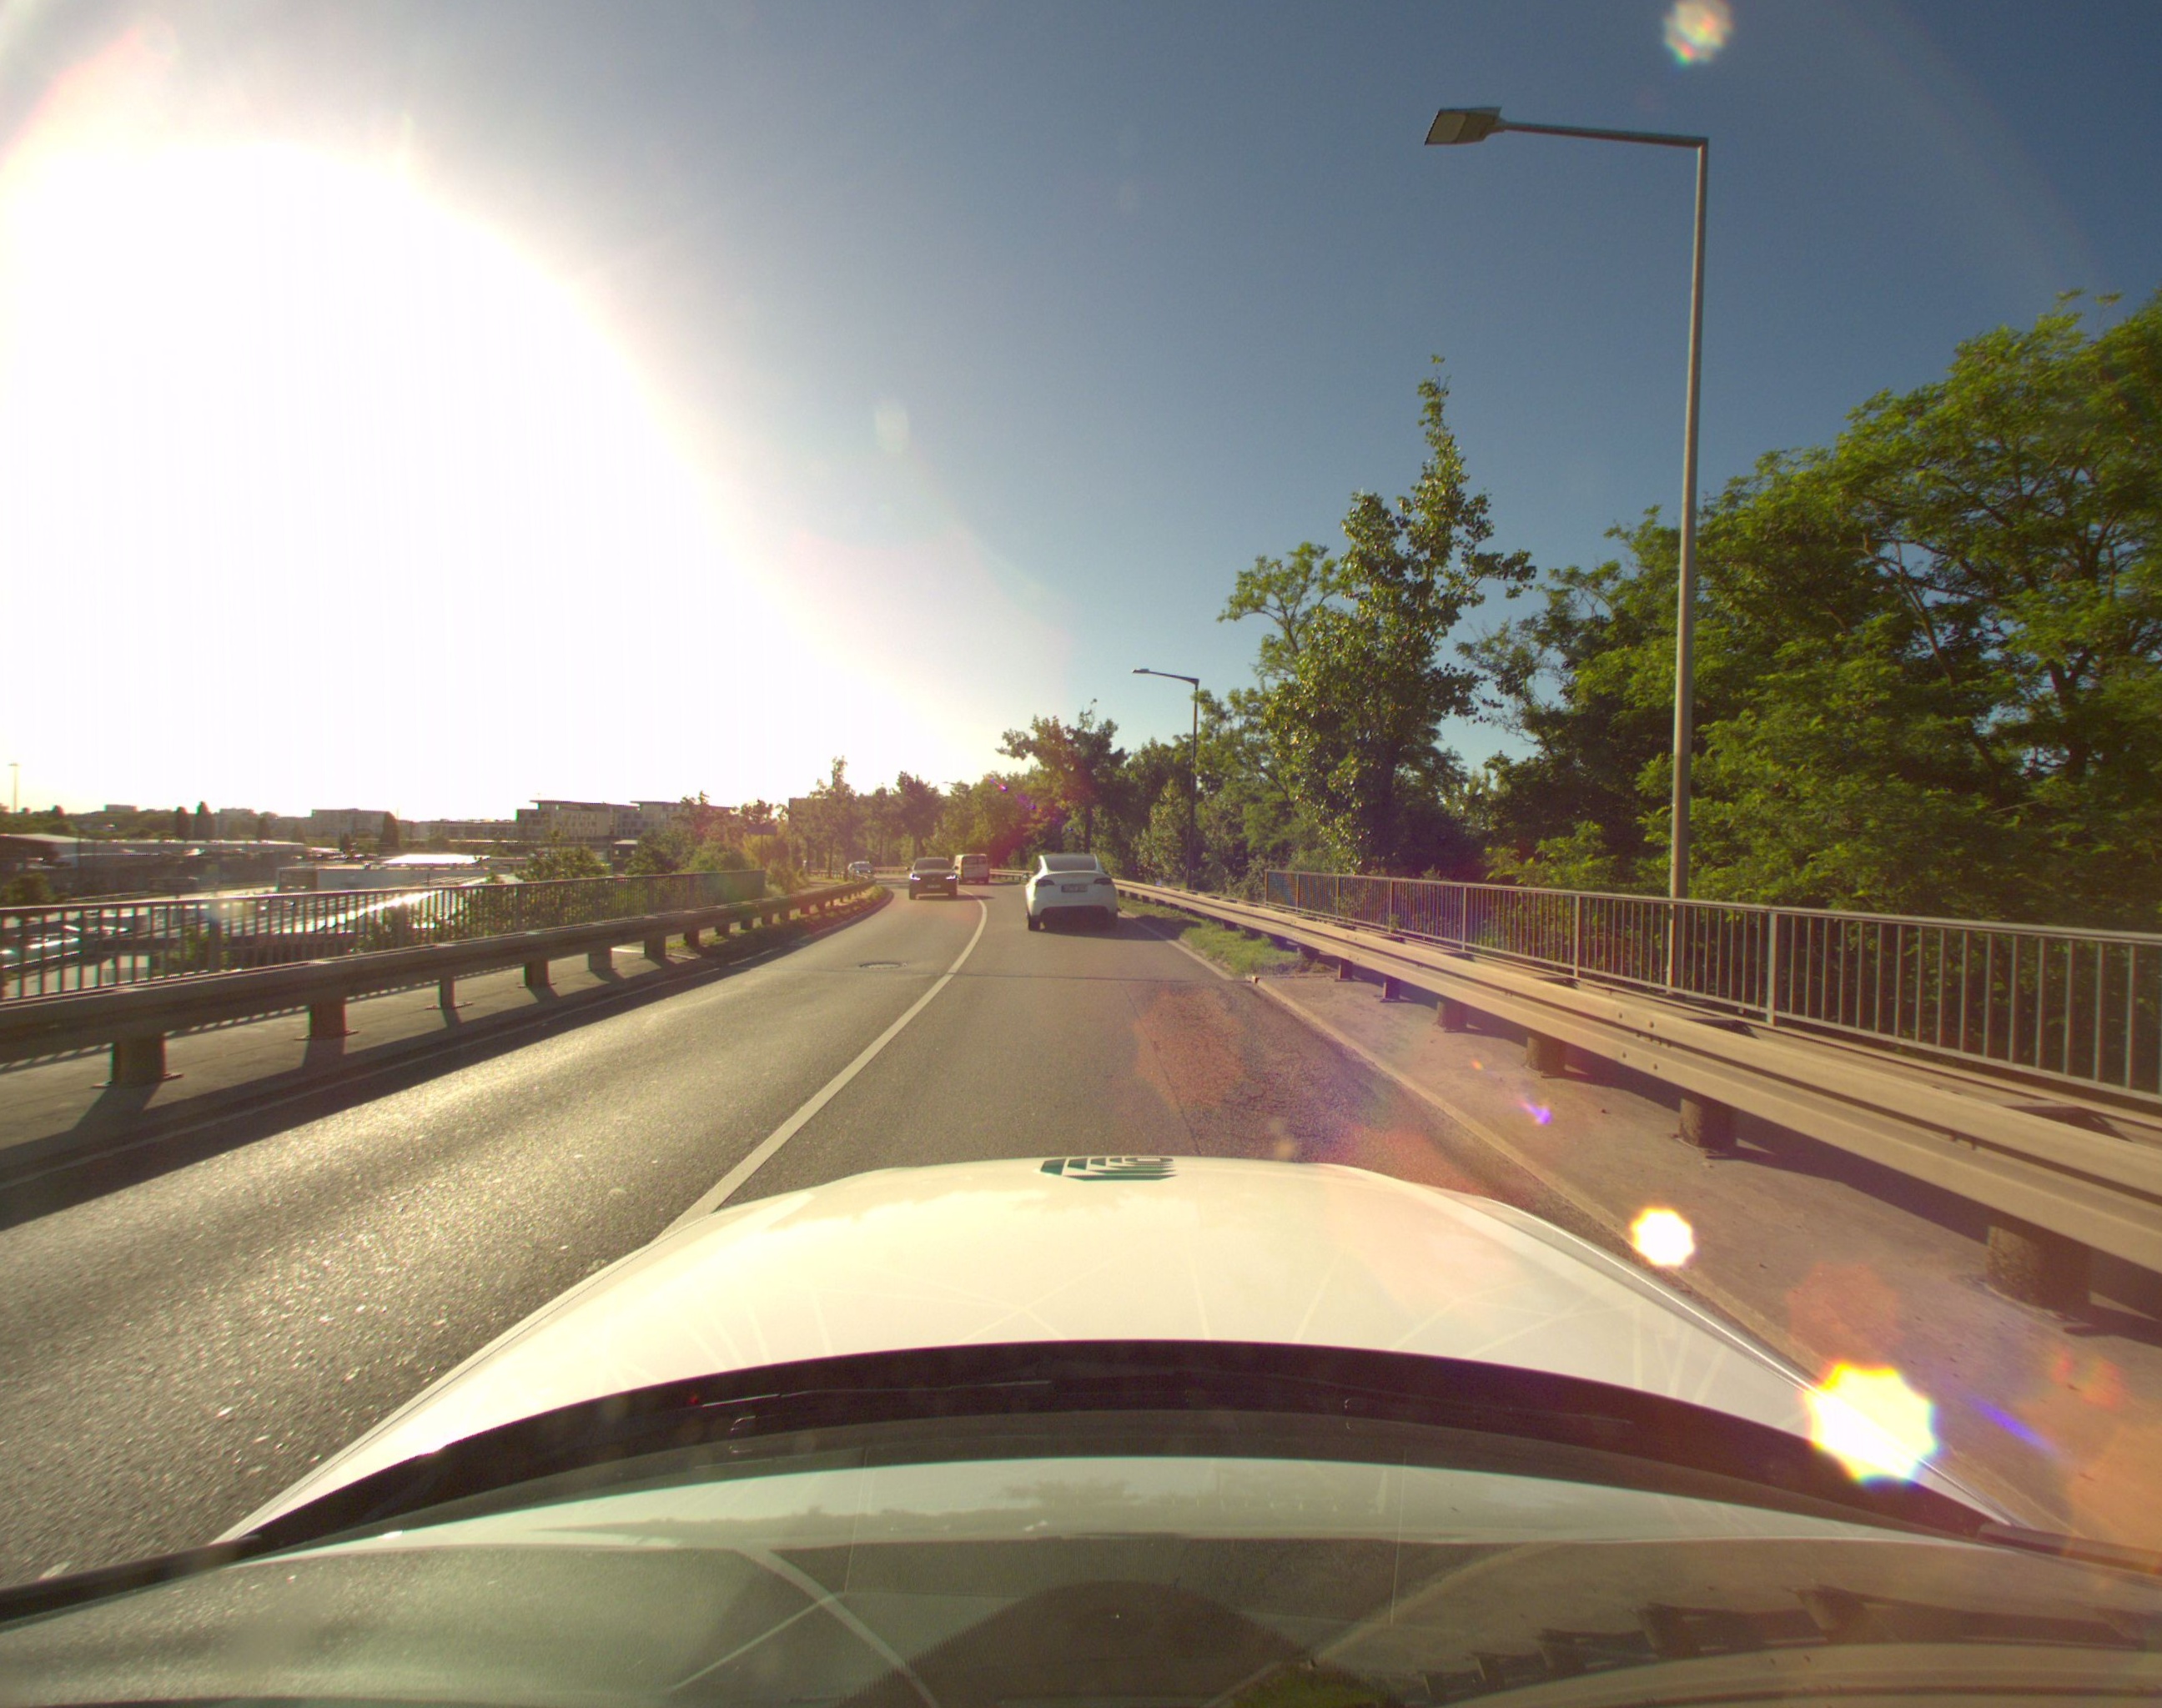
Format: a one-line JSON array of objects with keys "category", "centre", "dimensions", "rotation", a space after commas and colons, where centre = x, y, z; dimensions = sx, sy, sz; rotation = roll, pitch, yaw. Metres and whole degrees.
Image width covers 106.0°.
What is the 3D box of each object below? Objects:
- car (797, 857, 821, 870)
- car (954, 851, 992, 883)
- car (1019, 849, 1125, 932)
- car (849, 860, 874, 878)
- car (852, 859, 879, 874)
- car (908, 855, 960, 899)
[{"category": "car", "centre": [-35.112, 1.237, 105.106], "dimensions": [1.849, 1.555, 3.852], "rotation": [-1, 0, -34]}, {"category": "car", "centre": [-6.902, 0.796, 51.654], "dimensions": [2.007, 1.940, 4.447], "rotation": [-1, 0, -13]}, {"category": "car", "centre": [-0.329, 0.739, 18.510], "dimensions": [1.983, 1.638, 4.053], "rotation": [-1, 0, -7]}, {"category": "car", "centre": [-19.455, 1.301, 72.156], "dimensions": [1.799, 1.431, 3.799], "rotation": [-1, 0, -21]}, {"category": "car", "centre": [-22.883, 1.323, 86.510], "dimensions": [1.870, 1.585, 3.878], "rotation": [-1, 0, -28]}, {"category": "car", "centre": [-6.077, 0.901, 34.055], "dimensions": [1.897, 1.643, 4.452], "rotation": [-1, 0, -7]}]
